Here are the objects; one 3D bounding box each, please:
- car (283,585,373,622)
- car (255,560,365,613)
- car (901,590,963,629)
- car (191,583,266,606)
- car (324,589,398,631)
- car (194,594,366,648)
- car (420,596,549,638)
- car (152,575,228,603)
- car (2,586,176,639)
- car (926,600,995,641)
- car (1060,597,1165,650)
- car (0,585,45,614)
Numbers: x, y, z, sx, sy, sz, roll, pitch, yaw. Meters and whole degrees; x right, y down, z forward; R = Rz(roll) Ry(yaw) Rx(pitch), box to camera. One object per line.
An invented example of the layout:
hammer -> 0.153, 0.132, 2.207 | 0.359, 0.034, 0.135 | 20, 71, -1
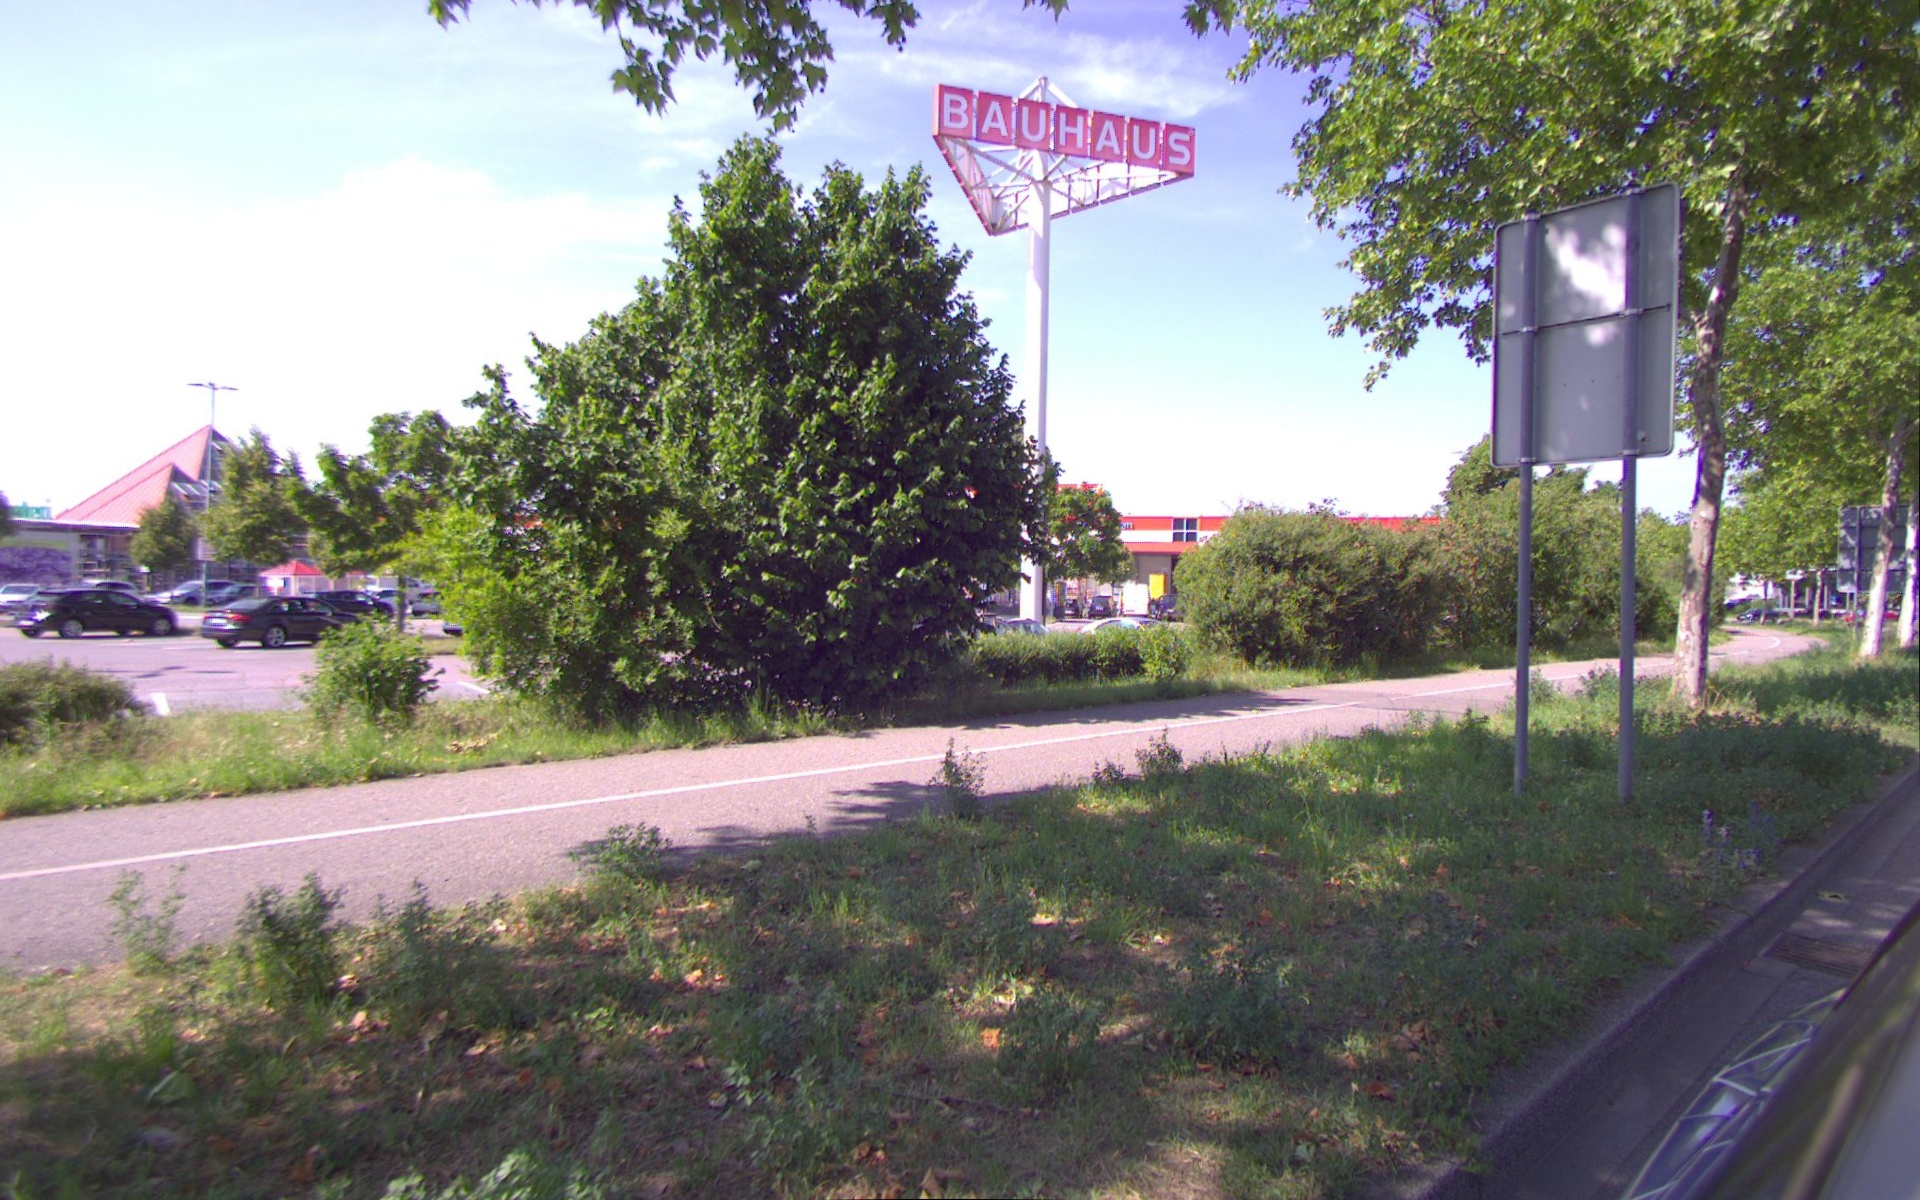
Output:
car -> -27.200, 0.139, 43.695 | 1.474, 1.527, 3.495 | 0, 0, 5
car -> -37.119, -0.745, 58.000 | 2.271, 2.889, 5.265 | 0, 0, 12
car -> -1.247, 0.427, 47.361 | 1.606, 1.648, 4.736 | 2, 0, 15
car -> -42.335, -0.286, 58.616 | 1.377, 1.266, 3.295 | -1, 0, 22
car -> -32.733, 0.524, 55.402 | 1.534, 2.191, 3.539 | 0, 0, 12
car -> -18.752, 0.538, 28.124 | 1.425, 1.371, 3.977 | 0, 0, 18
car -> -15.480, 0.598, 33.148 | 1.759, 1.289, 3.805 | 0, -2, 16
car -> -44.707, -0.612, 58.786 | 1.377, 1.530, 3.295 | -1, -1, 22
car -> -25.861, 0.369, 30.218 | 1.472, 1.460, 3.858 | -1, 0, 12
car -> 0.083, 0.791, 41.463 | 1.970, 1.527, 3.984 | 1, 1, 13
car -> 4.677, 0.680, 31.281 | 1.175, 1.473, 3.157 | 0, 2, -42
car -> -43.086, -0.017, 46.245 | 1.608, 1.282, 3.736 | 0, -1, -38
